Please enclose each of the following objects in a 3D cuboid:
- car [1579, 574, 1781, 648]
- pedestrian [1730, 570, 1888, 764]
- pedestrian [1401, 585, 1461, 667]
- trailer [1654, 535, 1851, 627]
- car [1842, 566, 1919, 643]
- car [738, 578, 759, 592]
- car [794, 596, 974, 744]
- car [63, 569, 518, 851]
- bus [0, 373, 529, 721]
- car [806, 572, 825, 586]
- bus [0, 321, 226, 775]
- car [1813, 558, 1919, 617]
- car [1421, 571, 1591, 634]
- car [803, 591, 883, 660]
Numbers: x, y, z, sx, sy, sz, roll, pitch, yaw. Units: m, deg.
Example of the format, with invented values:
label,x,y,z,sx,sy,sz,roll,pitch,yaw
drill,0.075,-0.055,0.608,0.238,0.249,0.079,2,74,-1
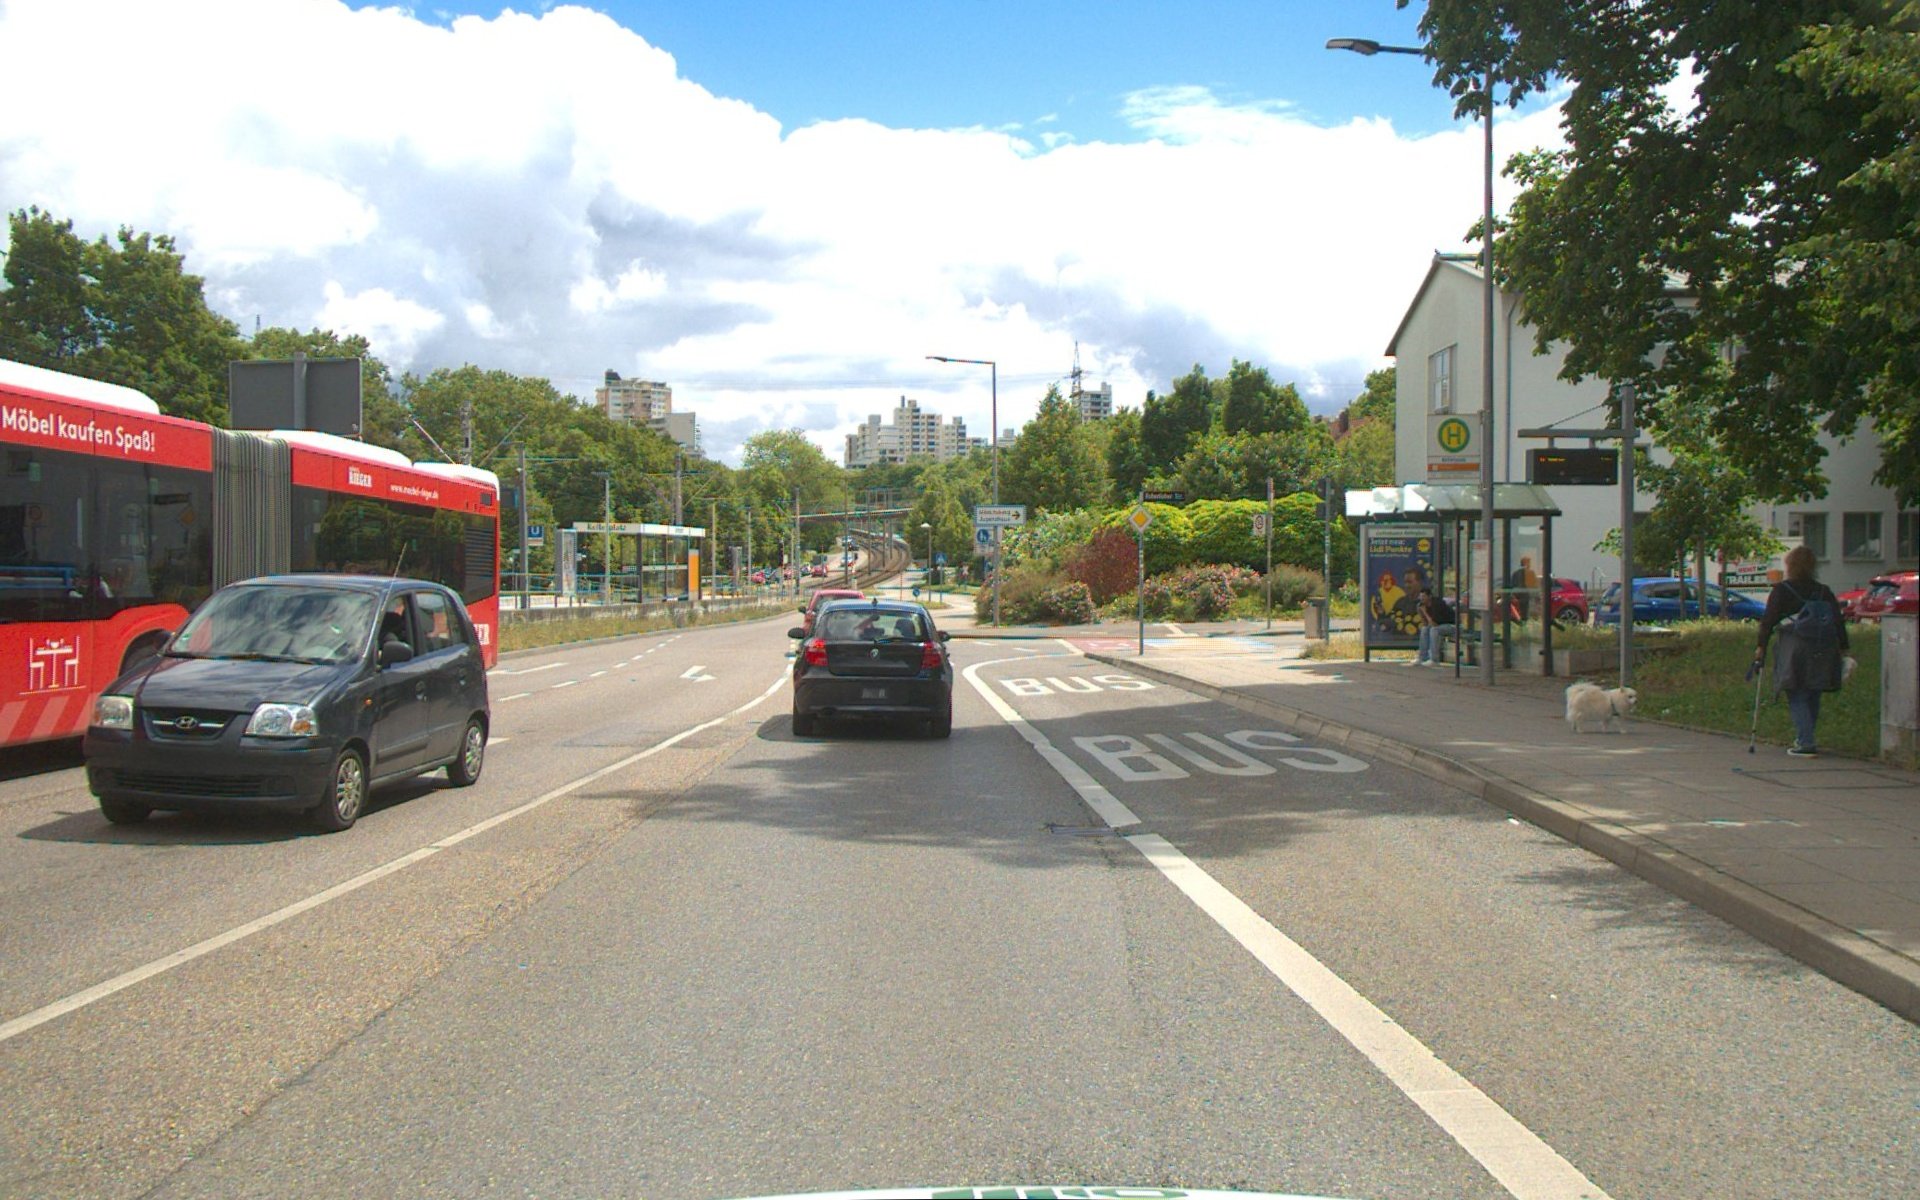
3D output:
label,x,y,z,sx,sy,sz,roll,pitch,yaw
car,16.170,0.228,37.286,3.716,1.482,1.896,-2,2,-1
pedestrian,6.561,0.504,12.826,0.802,1.449,0.830,0,-1,2
pedestrian,7.532,0.404,26.470,0.810,1.281,0.686,-1,1,4
trailer,22.229,-0.558,46.531,4.444,2.530,2.222,0,2,0
car,22.250,0.082,37.410,3.611,1.672,1.830,0,2,-1
car,-20.679,-1.471,161.915,1.496,1.394,3.598,0,1,2
car,-0.853,0.705,18.543,1.779,1.445,3.998,-1,0,-3
car,-4.341,0.623,11.358,1.498,1.578,3.733,1,0,1
bus,-7.732,-0.628,19.360,2.669,3.123,8.968,0,2,2
car,-16.447,-2.430,188.255,1.683,1.529,2.968,0,1,3
bus,-8.099,-0.307,9.944,2.669,3.163,9.709,0,2,2
car,26.511,-0.388,46.519,3.997,1.528,2.000,-2,2,0
car,15.200,0.048,46.220,4.073,1.588,1.999,-1,3,-3
car,-2.694,0.548,37.857,1.731,1.457,3.475,-1,0,-5
